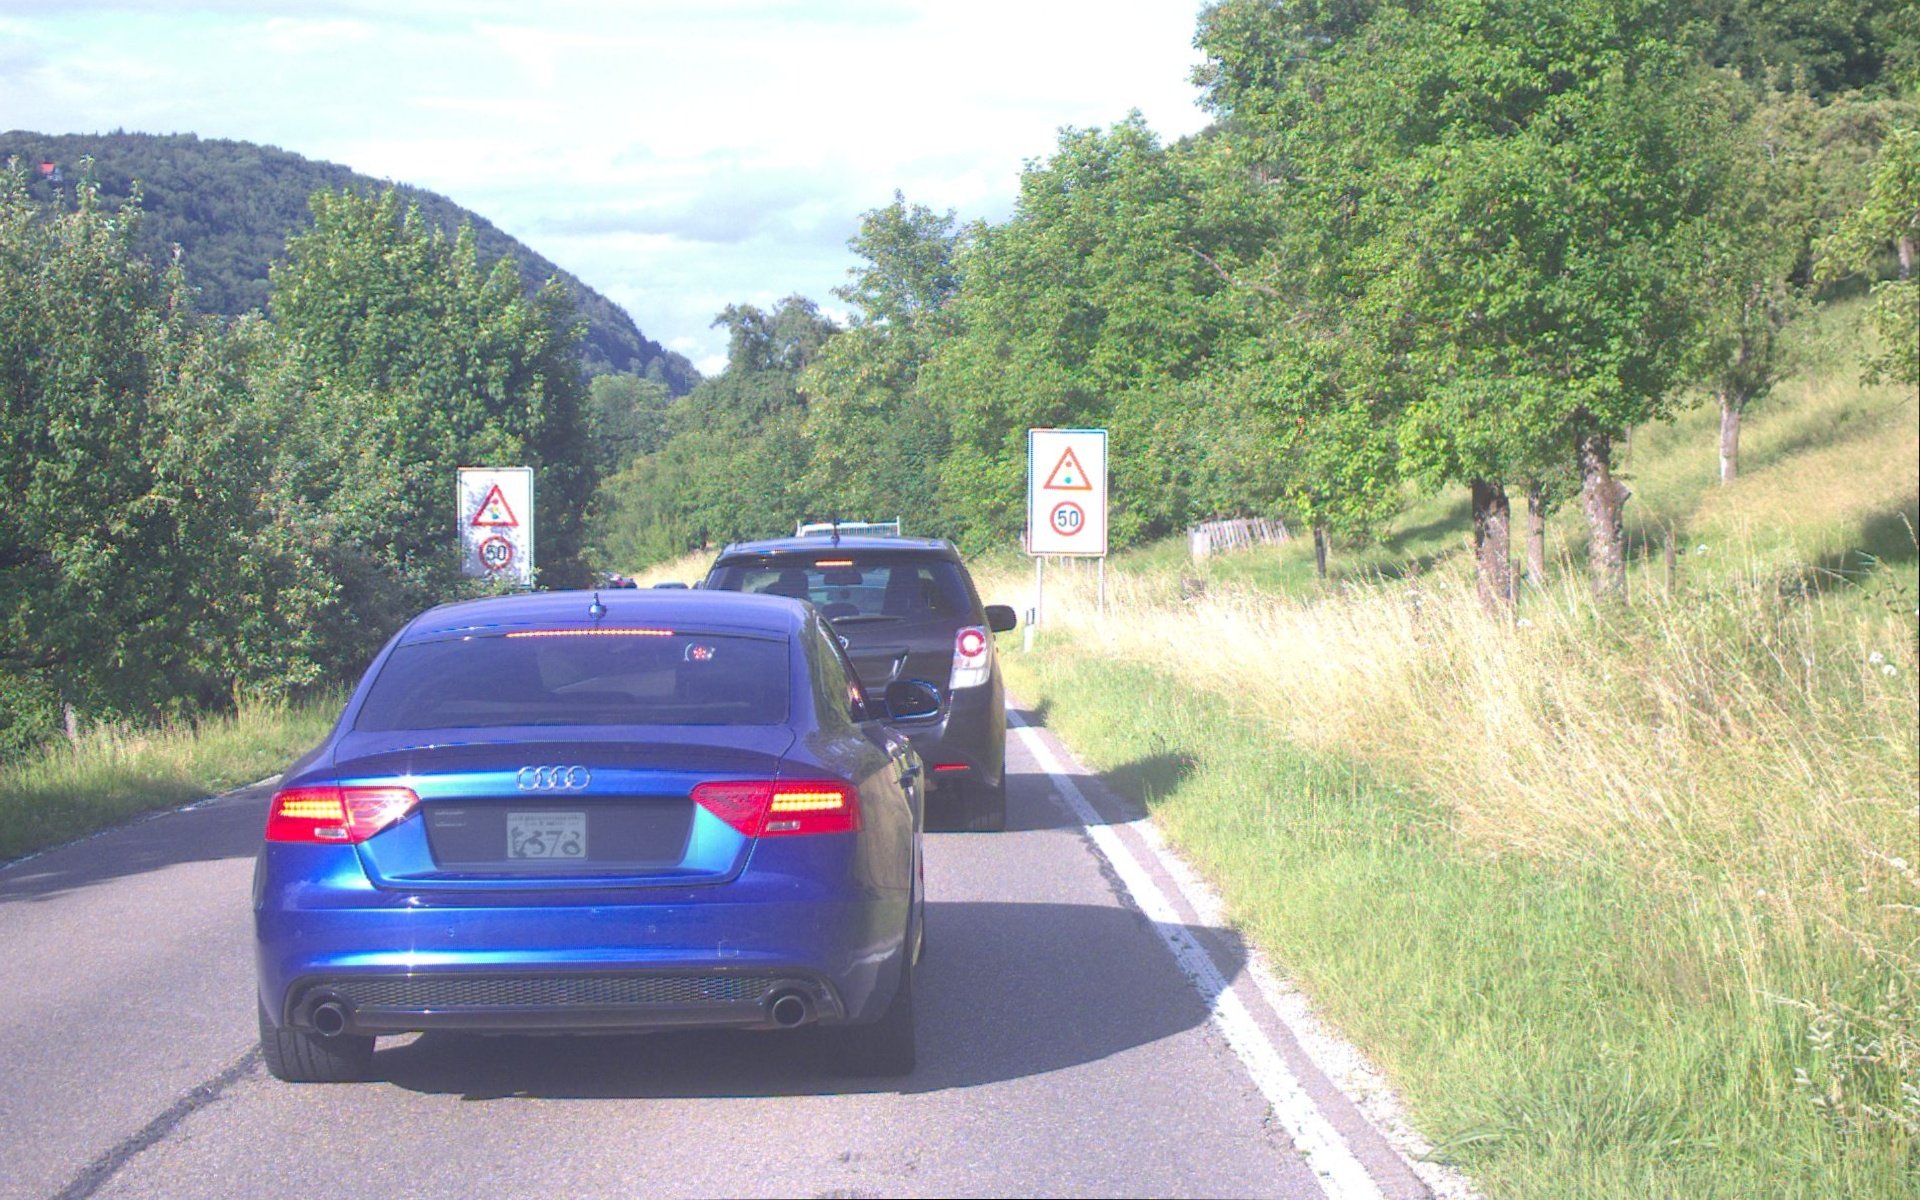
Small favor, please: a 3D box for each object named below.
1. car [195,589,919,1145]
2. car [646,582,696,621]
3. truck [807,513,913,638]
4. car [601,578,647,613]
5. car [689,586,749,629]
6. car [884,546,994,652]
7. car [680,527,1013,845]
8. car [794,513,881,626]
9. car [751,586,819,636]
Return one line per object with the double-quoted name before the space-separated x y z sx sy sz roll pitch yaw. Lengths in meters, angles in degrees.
"car" -1.037 0.662 10.741 1.805 1.377 4.215 0 0 -1
"car" -12.051 0.058 143.185 1.558 1.490 3.779 2 1 -12
"truck" -1.988 -0.500 68.382 1.950 2.337 5.094 2 1 -2
"car" -15.544 -0.225 158.936 1.558 1.490 3.779 2 1 -13
"car" -9.158 0.279 130.399 1.747 1.490 3.779 2 1 -11
"car" -0.362 -0.047 55.370 1.692 1.618 3.789 1 1 -1
"car" -0.619 0.410 19.522 1.692 1.618 3.789 1 1 -1
"car" -2.805 -0.699 78.140 1.792 2.445 3.920 2 1 -4
"car" -5.671 0.339 110.965 1.747 1.490 3.779 2 1 -9
